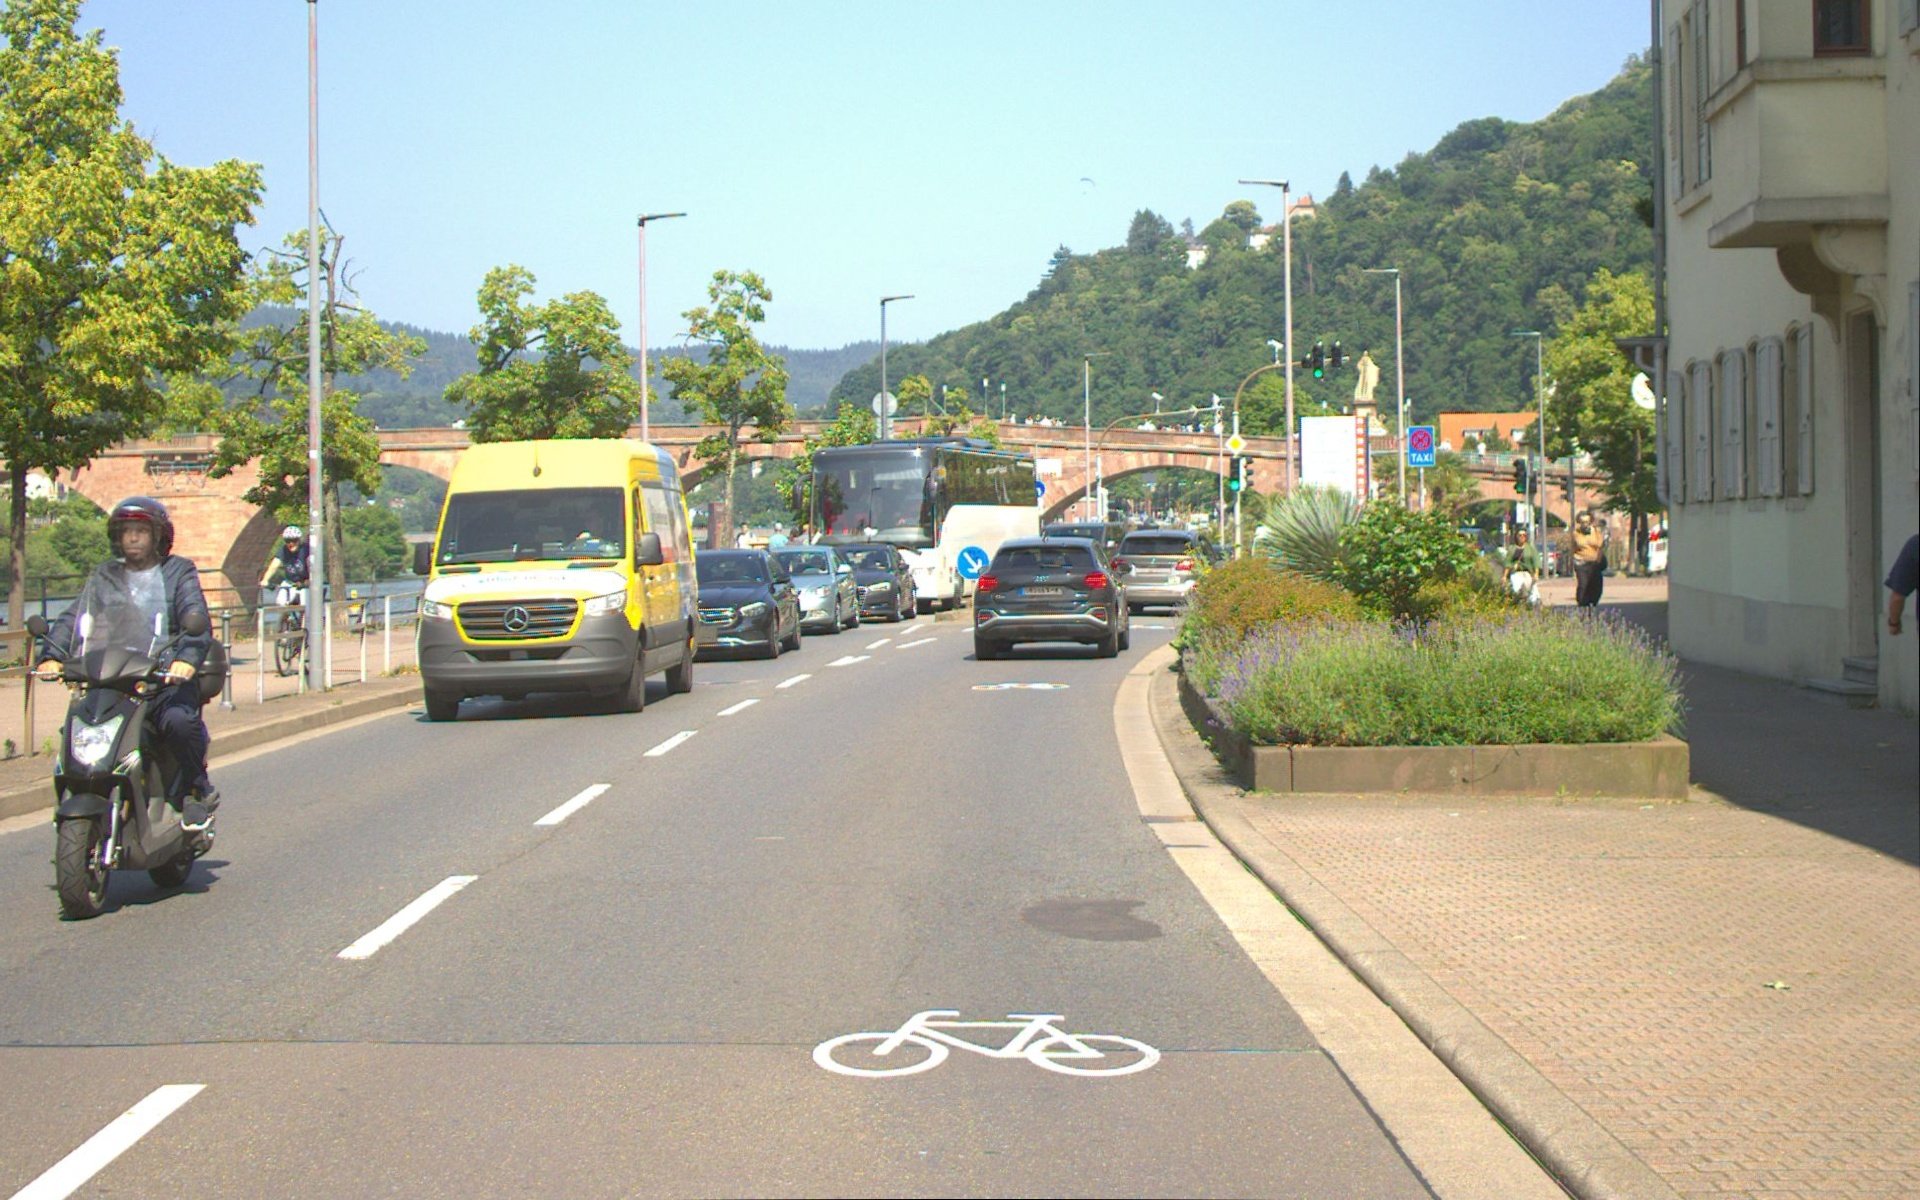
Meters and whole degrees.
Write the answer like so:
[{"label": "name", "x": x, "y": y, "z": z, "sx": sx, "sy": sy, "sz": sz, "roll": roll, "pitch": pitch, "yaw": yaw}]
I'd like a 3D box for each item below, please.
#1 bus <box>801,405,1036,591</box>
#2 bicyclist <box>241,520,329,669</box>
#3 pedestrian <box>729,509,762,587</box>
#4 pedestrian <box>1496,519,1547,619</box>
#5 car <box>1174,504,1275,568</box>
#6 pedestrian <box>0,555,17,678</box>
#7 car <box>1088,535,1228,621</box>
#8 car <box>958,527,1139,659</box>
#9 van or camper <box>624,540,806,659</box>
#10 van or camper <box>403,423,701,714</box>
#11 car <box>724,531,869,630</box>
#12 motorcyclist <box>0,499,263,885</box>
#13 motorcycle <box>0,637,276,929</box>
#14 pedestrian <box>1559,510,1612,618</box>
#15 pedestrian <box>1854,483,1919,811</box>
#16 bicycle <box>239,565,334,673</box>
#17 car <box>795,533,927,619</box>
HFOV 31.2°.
[{"label": "bus", "x": -0.670, "y": -2.026, "z": 72.992, "sx": 2.632, "sy": 3.552, "sz": 12.978, "roll": -1, "pitch": 0, "yaw": 10}, {"label": "bicyclist", "x": -7.725, "y": -0.073, "z": 39.373, "sx": 0.740, "sy": 1.662, "sz": 1.089, "roll": -1, "pitch": 2, "yaw": 1}, {"label": "pedestrian", "x": -4.930, "y": -1.202, "z": 79.014, "sx": 0.620, "sy": 1.774, "sz": 0.662, "roll": -1, "pitch": 1, "yaw": 7}, {"label": "pedestrian", "x": 9.036, "y": -0.498, "z": 55.328, "sx": 0.762, "sy": 1.589, "sz": 0.696, "roll": -1, "pitch": 1, "yaw": 7}, {"label": "car", "x": 6.403, "y": -1.543, "z": 82.866, "sx": 1.927, "sy": 1.456, "sz": 4.830, "roll": -1, "pitch": 1, "yaw": 10}, {"label": "pedestrian", "x": -10.451, "y": 0.181, "z": 35.807, "sx": 0.937, "sy": 1.276, "sz": 0.849, "roll": -1, "pitch": 1, "yaw": 8}, {"label": "car", "x": 3.648, "y": -0.424, "z": 62.417, "sx": 1.927, "sy": 1.456, "sz": 4.830, "roll": -1, "pitch": 1, "yaw": 11}, {"label": "car", "x": 1.204, "y": -0.134, "z": 44.239, "sx": 1.927, "sy": 1.548, "sz": 4.831, "roll": -2, "pitch": 1, "yaw": 6}, {"label": "van or camper", "x": -3.287, "y": -0.042, "z": 46.976, "sx": 1.993, "sy": 1.449, "sz": 4.682, "roll": -3, "pitch": 1, "yaw": 1}, {"label": "van or camper", "x": -3.872, "y": -0.332, "z": 33.924, "sx": 2.087, "sy": 2.548, "sz": 7.092, "roll": -1, "pitch": 1, "yaw": 0}, {"label": "car", "x": -2.636, "y": -0.353, "z": 56.394, "sx": 1.814, "sy": 1.423, "sz": 4.310, "roll": -3, "pitch": 2, "yaw": 4}, {"label": "motorcyclist", "x": -3.527, "y": 0.371, "z": 14.705, "sx": 0.878, "sy": 1.578, "sz": 1.025, "roll": -1, "pitch": 1, "yaw": -2}, {"label": "motorcycle", "x": -3.524, "y": 0.730, "z": 14.612, "sx": 0.883, "sy": 1.073, "sz": 2.328, "roll": -2, "pitch": 1, "yaw": -4}, {"label": "pedestrian", "x": 10.005, "y": -0.580, "z": 55.035, "sx": 0.738, "sy": 1.693, "sz": 0.933, "roll": -2, "pitch": 1, "yaw": 7}, {"label": "pedestrian", "x": 5.289, "y": 0.223, "z": 18.354, "sx": 0.762, "sy": 1.707, "sz": 0.696, "roll": -4, "pitch": 1, "yaw": 2}, {"label": "bicycle", "x": -7.723, "y": 0.202, "z": 39.493, "sx": 0.711, "sy": 1.164, "sz": 1.896, "roll": 0, "pitch": 2, "yaw": 0}, {"label": "car", "x": -1.751, "y": -0.462, "z": 62.144, "sx": 1.817, "sy": 1.424, "sz": 4.192, "roll": -2, "pitch": 1, "yaw": 6}]
